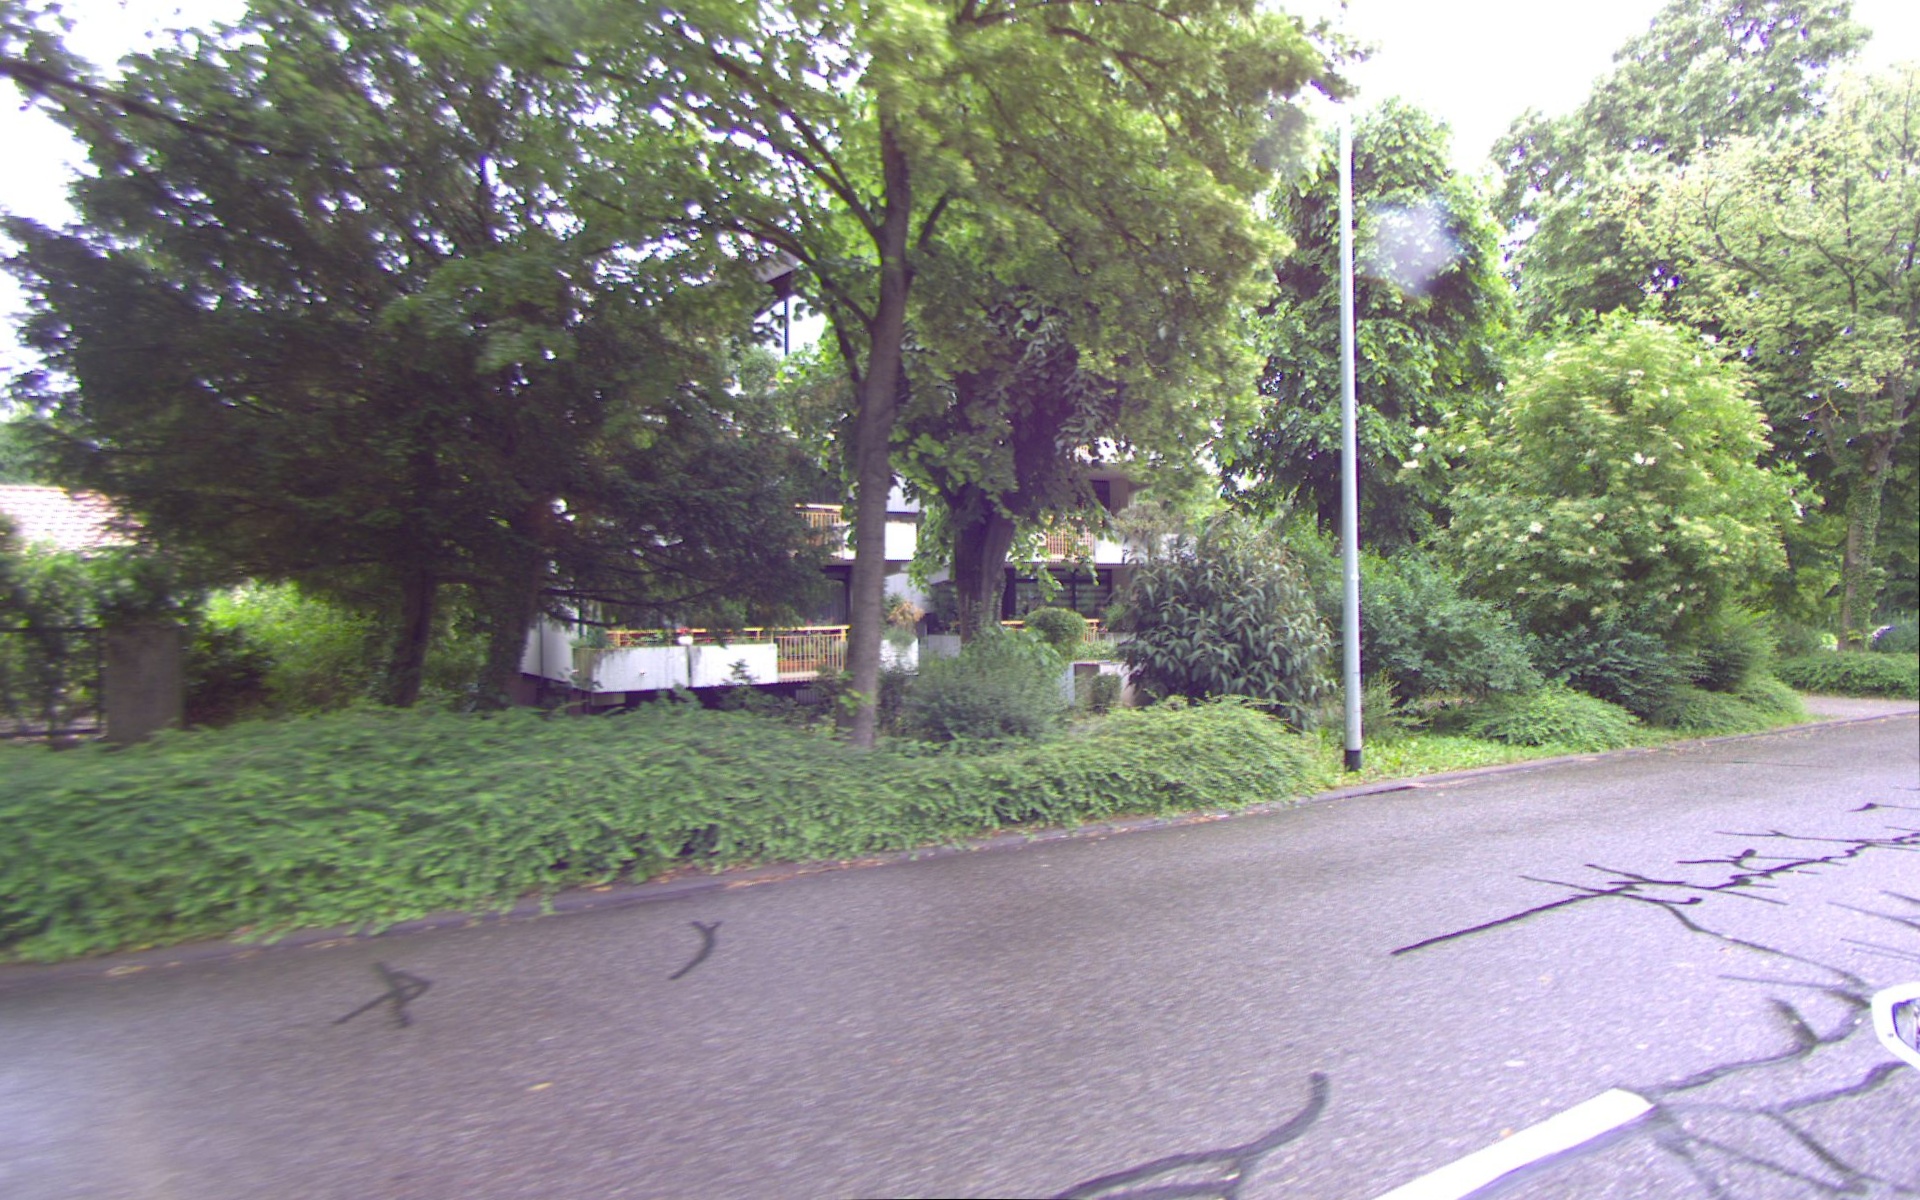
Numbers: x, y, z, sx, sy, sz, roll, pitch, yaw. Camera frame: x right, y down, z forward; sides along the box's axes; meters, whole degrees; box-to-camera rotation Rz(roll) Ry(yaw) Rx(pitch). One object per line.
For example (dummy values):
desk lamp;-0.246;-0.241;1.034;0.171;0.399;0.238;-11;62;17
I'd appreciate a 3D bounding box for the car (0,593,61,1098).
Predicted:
car;-4.730;0.762;1.982;4.094;1.635;1.755;1;-3;-31
